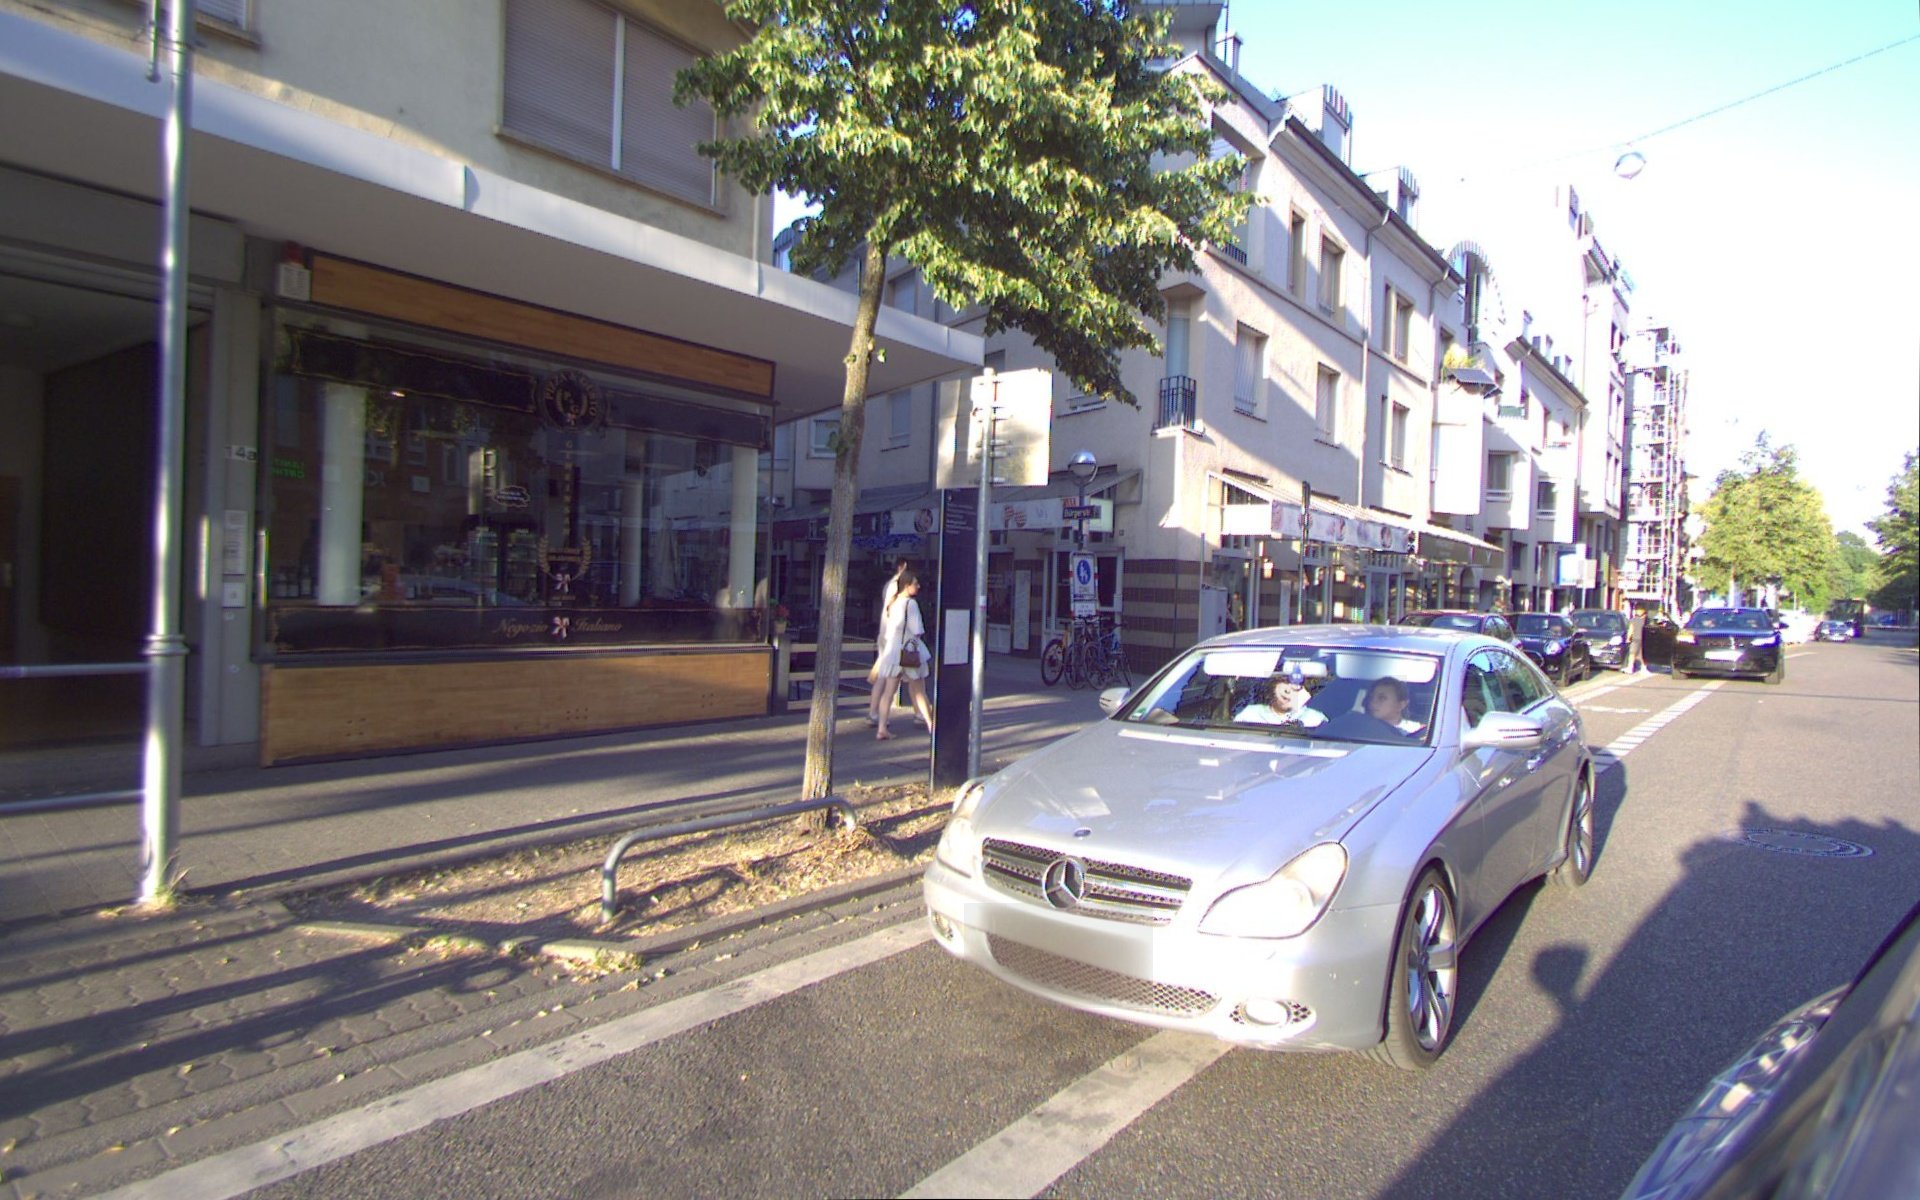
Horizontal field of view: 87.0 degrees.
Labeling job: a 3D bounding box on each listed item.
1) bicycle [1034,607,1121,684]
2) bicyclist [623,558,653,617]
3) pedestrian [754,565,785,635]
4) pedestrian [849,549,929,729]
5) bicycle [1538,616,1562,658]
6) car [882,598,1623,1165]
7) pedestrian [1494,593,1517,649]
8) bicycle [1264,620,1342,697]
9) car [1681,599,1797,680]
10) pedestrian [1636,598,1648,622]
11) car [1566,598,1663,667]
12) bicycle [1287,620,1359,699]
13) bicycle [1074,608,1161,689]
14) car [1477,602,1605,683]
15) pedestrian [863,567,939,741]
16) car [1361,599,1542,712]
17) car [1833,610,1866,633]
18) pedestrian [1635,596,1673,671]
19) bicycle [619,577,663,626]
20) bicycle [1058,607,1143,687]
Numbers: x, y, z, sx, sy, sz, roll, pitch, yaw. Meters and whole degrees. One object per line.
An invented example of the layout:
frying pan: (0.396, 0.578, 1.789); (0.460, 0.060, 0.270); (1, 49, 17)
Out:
bicycle: (1.840, 0.672, 15.634); (0.320, 1.118, 1.851); (2, 1, 41)
bicyclist: (-8.150, -0.322, 25.587); (0.453, 1.453, 0.719); (4, -1, -34)
pedestrian: (-4.850, -0.012, 25.721); (0.688, 1.696, 0.799); (2, 2, -13)
pedestrian: (-0.736, 0.386, 10.511); (0.543, 1.779, 0.495); (5, 3, 41)
bicycle: (16.335, 1.006, 28.006); (0.295, 1.099, 1.441); (1, 0, 41)
car: (1.844, 0.760, 4.879); (1.740, 1.419, 4.571); (0, -2, 40)
pedestrian: (17.778, 0.684, 33.006); (0.574, 1.823, 0.443); (0, -1, 42)
bicycle: (5.131, 0.842, 15.079); (0.314, 1.059, 1.852); (3, 2, 43)
car: (17.848, 0.823, 23.120); (1.884, 1.656, 4.164); (0, 0, 41)
pedestrian: (36.216, 0.522, 53.722); (0.490, 1.279, 0.415); (0, -1, 42)
car: (17.120, 0.793, 26.398); (1.615, 1.612, 3.868); (2, 1, 40)
bicycle: (5.326, 0.847, 14.799); (0.314, 1.059, 1.638); (3, 2, 43)
bicycle: (2.379, 0.697, 15.126); (0.320, 1.118, 1.851); (2, 1, 41)
car: (12.120, 0.819, 20.995); (1.615, 1.452, 3.868); (3, 1, 40)
pedestrian: (-0.573, 0.507, 9.846); (0.519, 1.612, 0.402); (5, 3, 41)
car: (7.708, 0.767, 15.705); (1.587, 1.452, 3.868); (4, 2, 40)
car: (60.143, 1.464, 68.478); (1.616, 1.492, 3.634); (0, 0, 41)
pedestrian: (16.858, 0.799, 24.575); (0.629, 1.771, 0.660); (3, 1, 41)
bicycle: (-8.028, 0.027, 25.412); (0.456, 1.161, 1.979); (4, -1, -34)
bicycle: (2.153, 0.681, 15.335); (0.290, 1.118, 1.859); (2, 1, 41)
